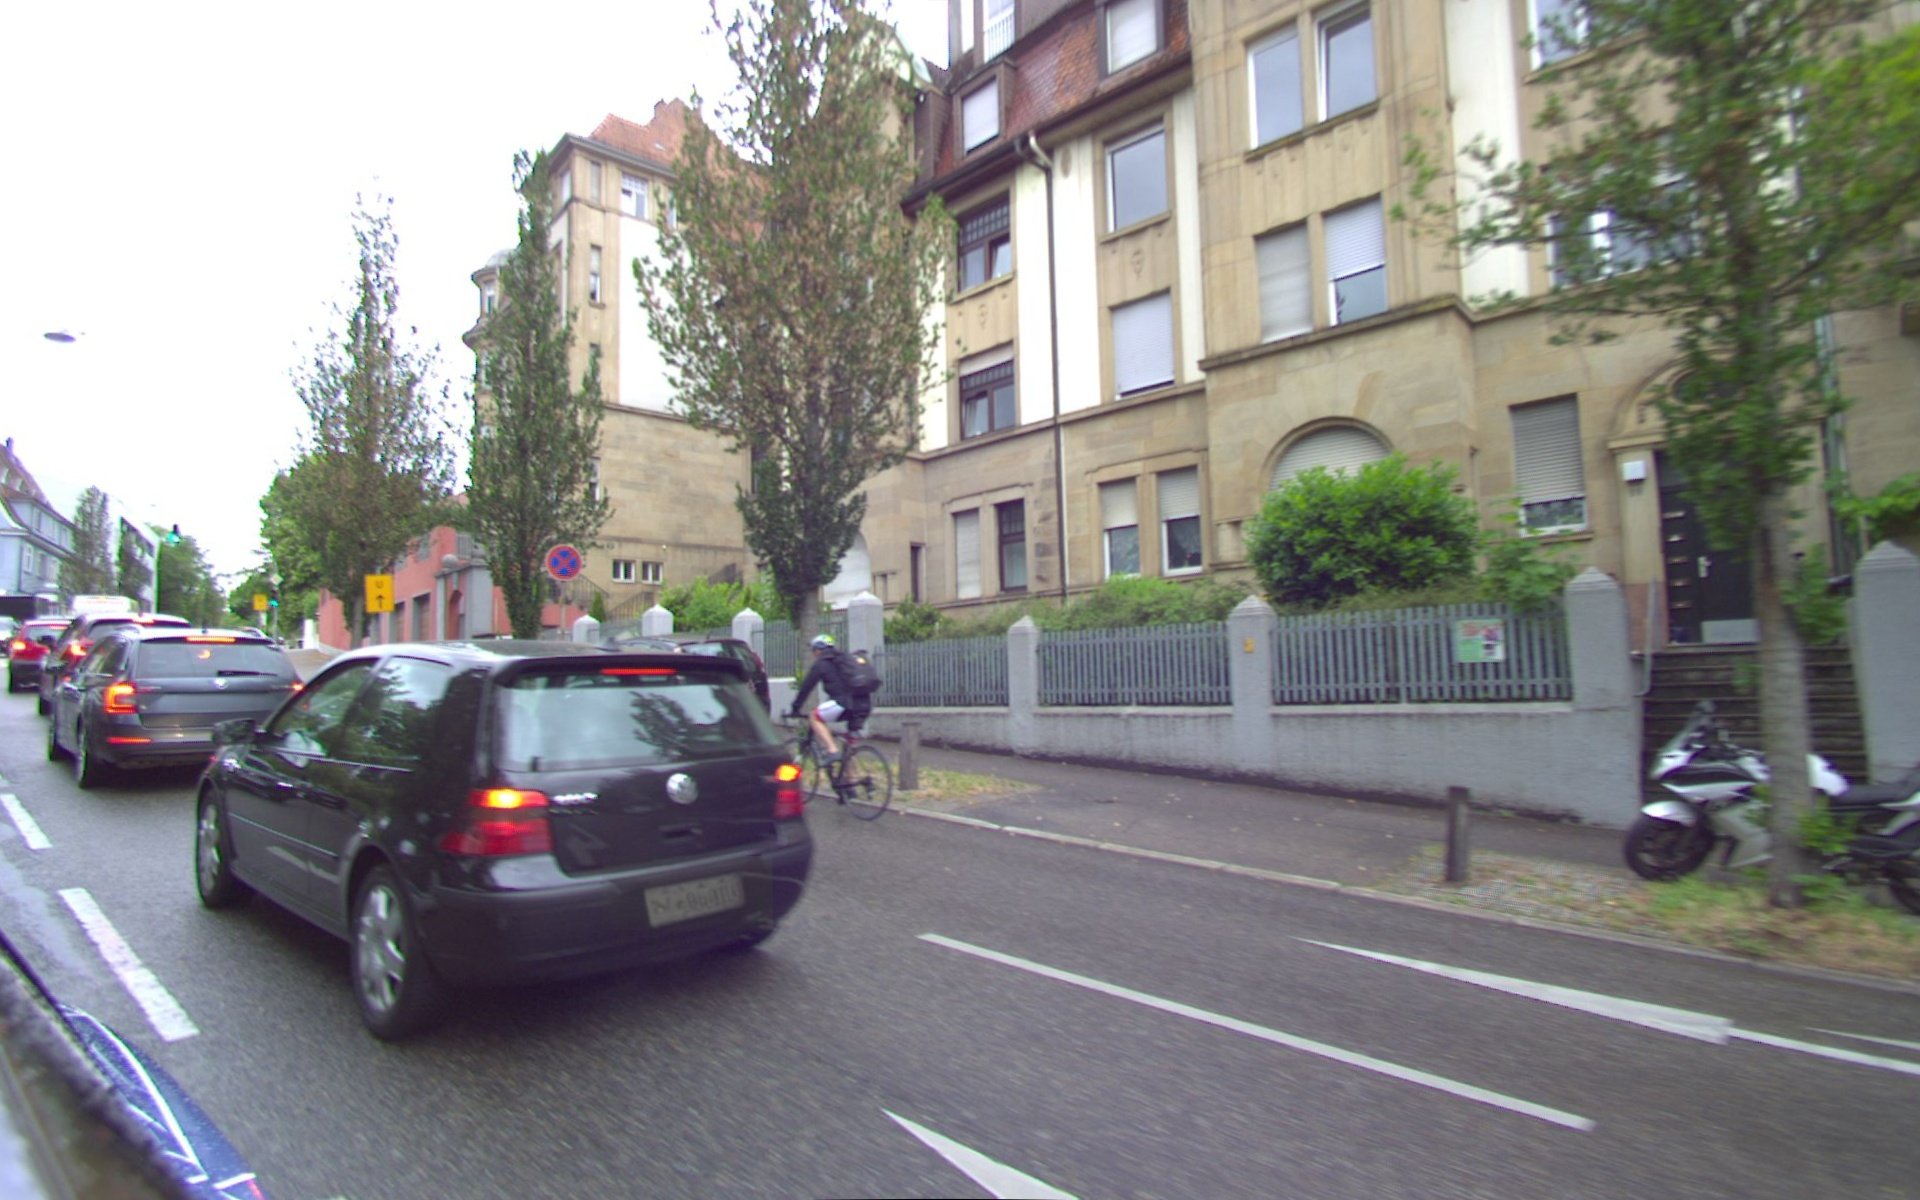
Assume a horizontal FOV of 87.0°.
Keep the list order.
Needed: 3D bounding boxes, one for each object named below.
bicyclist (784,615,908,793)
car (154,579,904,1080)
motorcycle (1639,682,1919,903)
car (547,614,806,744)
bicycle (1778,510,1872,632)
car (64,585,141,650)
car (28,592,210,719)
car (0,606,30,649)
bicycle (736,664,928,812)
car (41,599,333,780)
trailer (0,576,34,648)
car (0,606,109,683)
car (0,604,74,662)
[{"bbox_3d":[-1.074,0.942,9.493,0.990,1.568,0.648,-2,-4,41],"label":"bicyclist"},{"bbox_3d":[-2.285,0.783,4.892,3.882,1.442,1.744,-2,-6,41],"label":"car"},{"bbox_3d":[5.565,1.174,6.432,1.981,1.245,0.648,-2,-4,41],"label":"motorcycle"},{"bbox_3d":[-4.287,1.068,15.052,3.827,1.607,1.974,-2,0,43],"label":"car"},{"bbox_3d":[9.910,-0.274,11.646,0.656,1.245,1.957,-2,-4,37],"label":"bicycle"},{"bbox_3d":[-37.145,0.847,43.967,2.102,2.525,5.420,5,-5,-37],"label":"car"},{"bbox_3d":[-13.128,0.833,15.714,4.115,1.721,1.634,-1,-5,44],"label":"car"},{"bbox_3d":[-39.141,1.137,41.134,1.897,1.663,4.139,0,-2,-42],"label":"car"},{"bbox_3d":[-1.248,1.242,9.622,1.980,1.245,0.648,-2,-4,41],"label":"bicycle"},{"bbox_3d":[-8.050,0.866,10.399,4.114,1.491,1.692,-3,-6,44],"label":"car"},{"bbox_3d":[-41.181,0.541,43.537,1.938,3.065,2.367,0,-2,-42],"label":"trailer"},{"bbox_3d":[-20.316,1.023,22.526,4.114,1.535,1.600,-3,-6,44],"label":"car"},{"bbox_3d":[-29.349,1.079,32.004,4.115,1.675,1.600,-3,-6,44],"label":"car"}]
